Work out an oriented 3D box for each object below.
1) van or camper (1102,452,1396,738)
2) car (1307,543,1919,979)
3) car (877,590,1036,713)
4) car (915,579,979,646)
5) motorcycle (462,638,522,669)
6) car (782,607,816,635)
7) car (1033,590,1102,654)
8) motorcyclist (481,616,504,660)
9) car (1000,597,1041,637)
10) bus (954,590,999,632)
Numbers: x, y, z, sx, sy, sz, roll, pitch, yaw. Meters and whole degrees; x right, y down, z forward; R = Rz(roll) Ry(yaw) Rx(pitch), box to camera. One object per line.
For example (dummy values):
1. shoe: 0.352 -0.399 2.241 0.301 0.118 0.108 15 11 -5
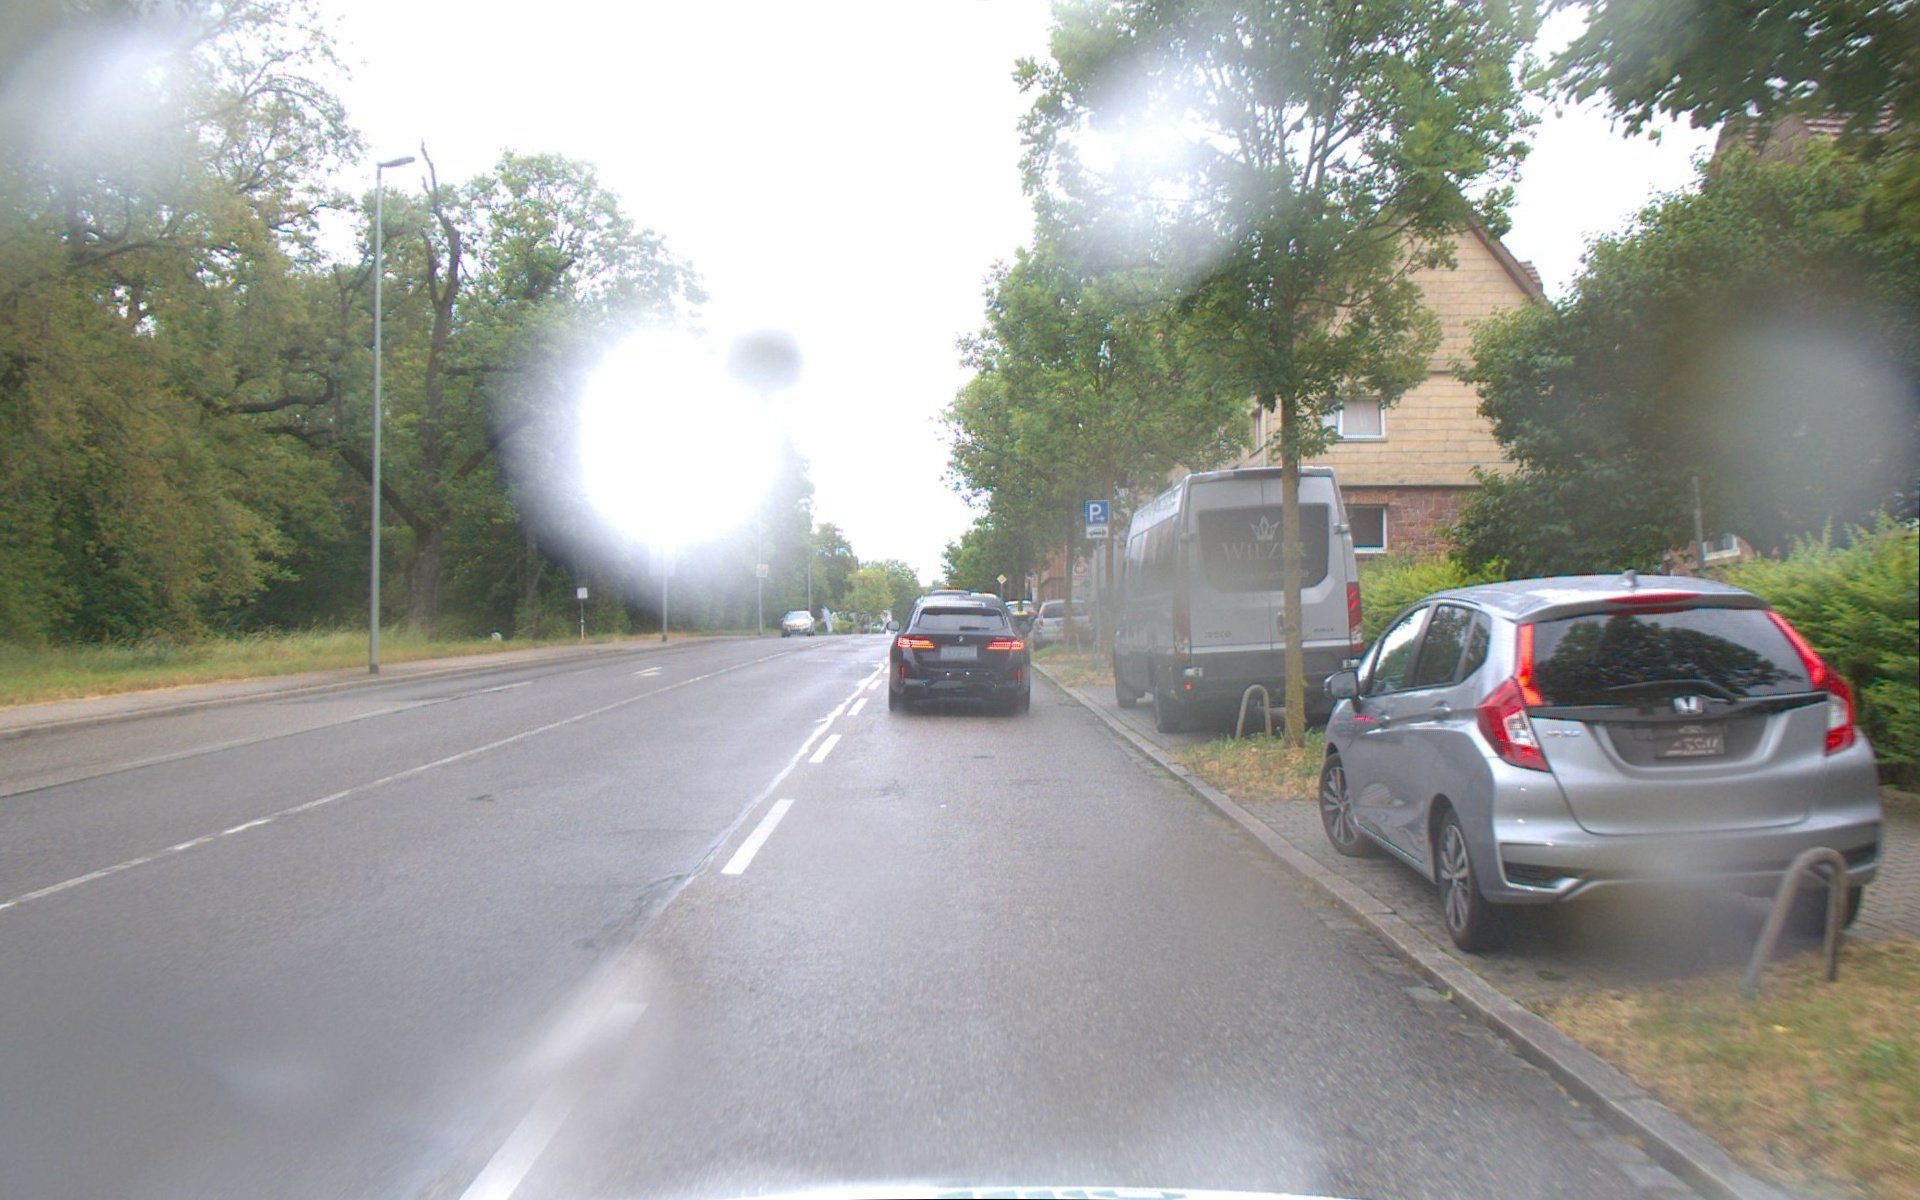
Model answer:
1. van or camper: 3.138 -0.090 19.809 2.153 2.697 7.301 -2 1 0
2. car: 2.925 0.603 8.197 1.634 1.555 3.833 -4 0 2
3. car: -0.078 0.659 22.831 1.953 1.478 3.999 2 0 -1
4. car: -0.400 0.399 52.740 1.953 2.049 4.000 0 -1 0
5. motorcycle: -18.349 2.093 64.865 2.137 1.137 0.824 1 0 -1
6. car: -9.346 1.203 96.316 1.656 1.508 4.449 -3 0 -2
7. car: 3.068 0.594 47.940 1.667 1.611 4.643 -4 1 1
8. motorcyclist: -18.325 1.477 64.861 0.636 1.710 0.813 1 0 -1
9. car: 2.857 0.799 79.165 1.786 1.803 4.541 -2 0 1
10. bus: 1.266 0.765 121.918 2.568 2.897 8.293 -2 0 5
